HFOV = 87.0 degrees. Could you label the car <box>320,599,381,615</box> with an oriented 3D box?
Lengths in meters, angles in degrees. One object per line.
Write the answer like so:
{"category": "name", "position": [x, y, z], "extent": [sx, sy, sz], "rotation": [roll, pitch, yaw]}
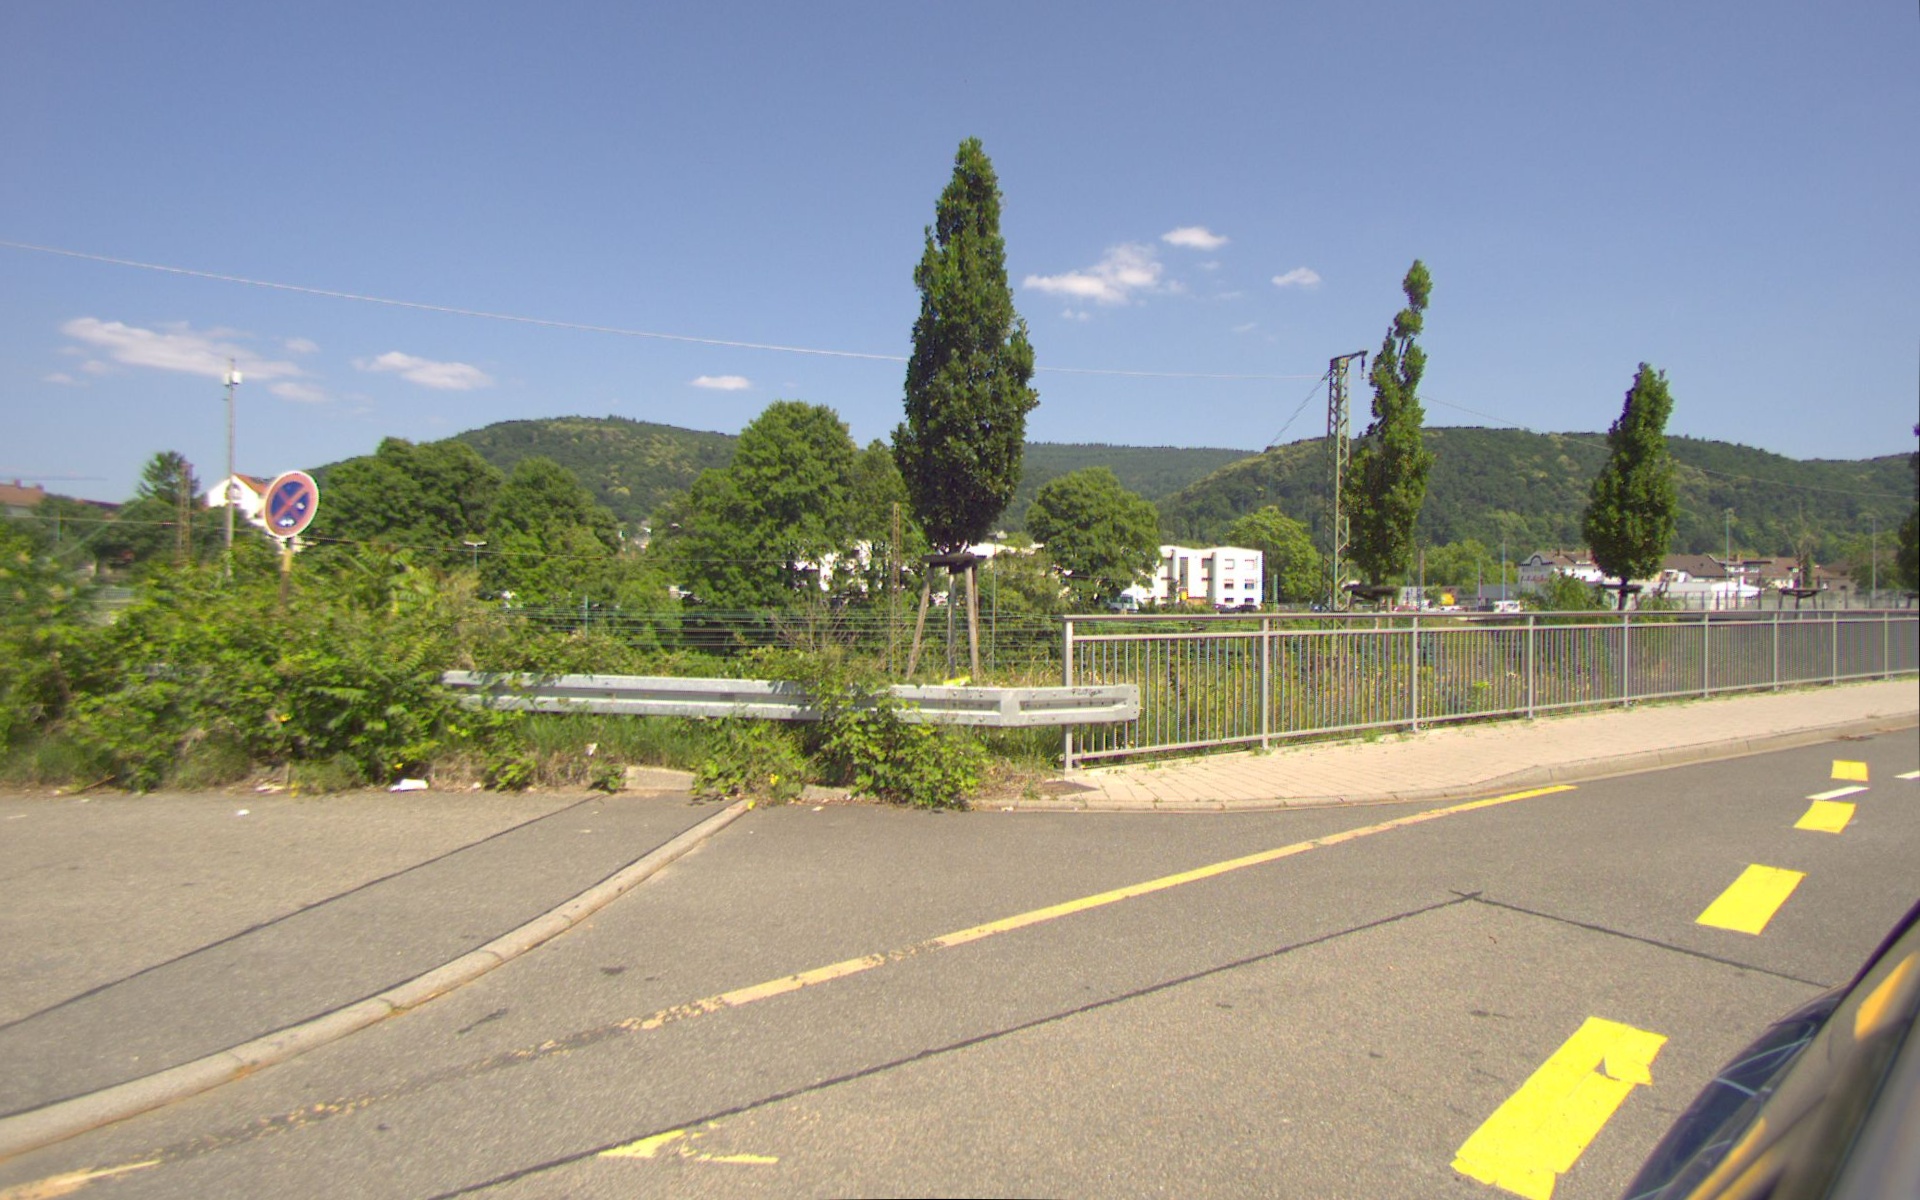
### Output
{"category": "car", "position": [-53.991, 0.631, 89.705], "extent": [4.232, 1.384, 1.866], "rotation": [0, 0, -1]}

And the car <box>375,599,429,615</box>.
{"category": "car", "position": [-49.493, 0.622, 89.837], "extent": [3.768, 1.384, 1.784], "rotation": [0, 0, -2]}

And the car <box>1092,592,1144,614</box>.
{"category": "car", "position": [17.998, 0.345, 115.230], "extent": [5.403, 2.130, 2.138], "rotation": [-1, -4, -20]}

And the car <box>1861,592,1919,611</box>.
{"category": "car", "position": [82.250, 0.135, 89.082], "extent": [1.796, 1.510, 4.373], "rotation": [-3, 0, -3]}
